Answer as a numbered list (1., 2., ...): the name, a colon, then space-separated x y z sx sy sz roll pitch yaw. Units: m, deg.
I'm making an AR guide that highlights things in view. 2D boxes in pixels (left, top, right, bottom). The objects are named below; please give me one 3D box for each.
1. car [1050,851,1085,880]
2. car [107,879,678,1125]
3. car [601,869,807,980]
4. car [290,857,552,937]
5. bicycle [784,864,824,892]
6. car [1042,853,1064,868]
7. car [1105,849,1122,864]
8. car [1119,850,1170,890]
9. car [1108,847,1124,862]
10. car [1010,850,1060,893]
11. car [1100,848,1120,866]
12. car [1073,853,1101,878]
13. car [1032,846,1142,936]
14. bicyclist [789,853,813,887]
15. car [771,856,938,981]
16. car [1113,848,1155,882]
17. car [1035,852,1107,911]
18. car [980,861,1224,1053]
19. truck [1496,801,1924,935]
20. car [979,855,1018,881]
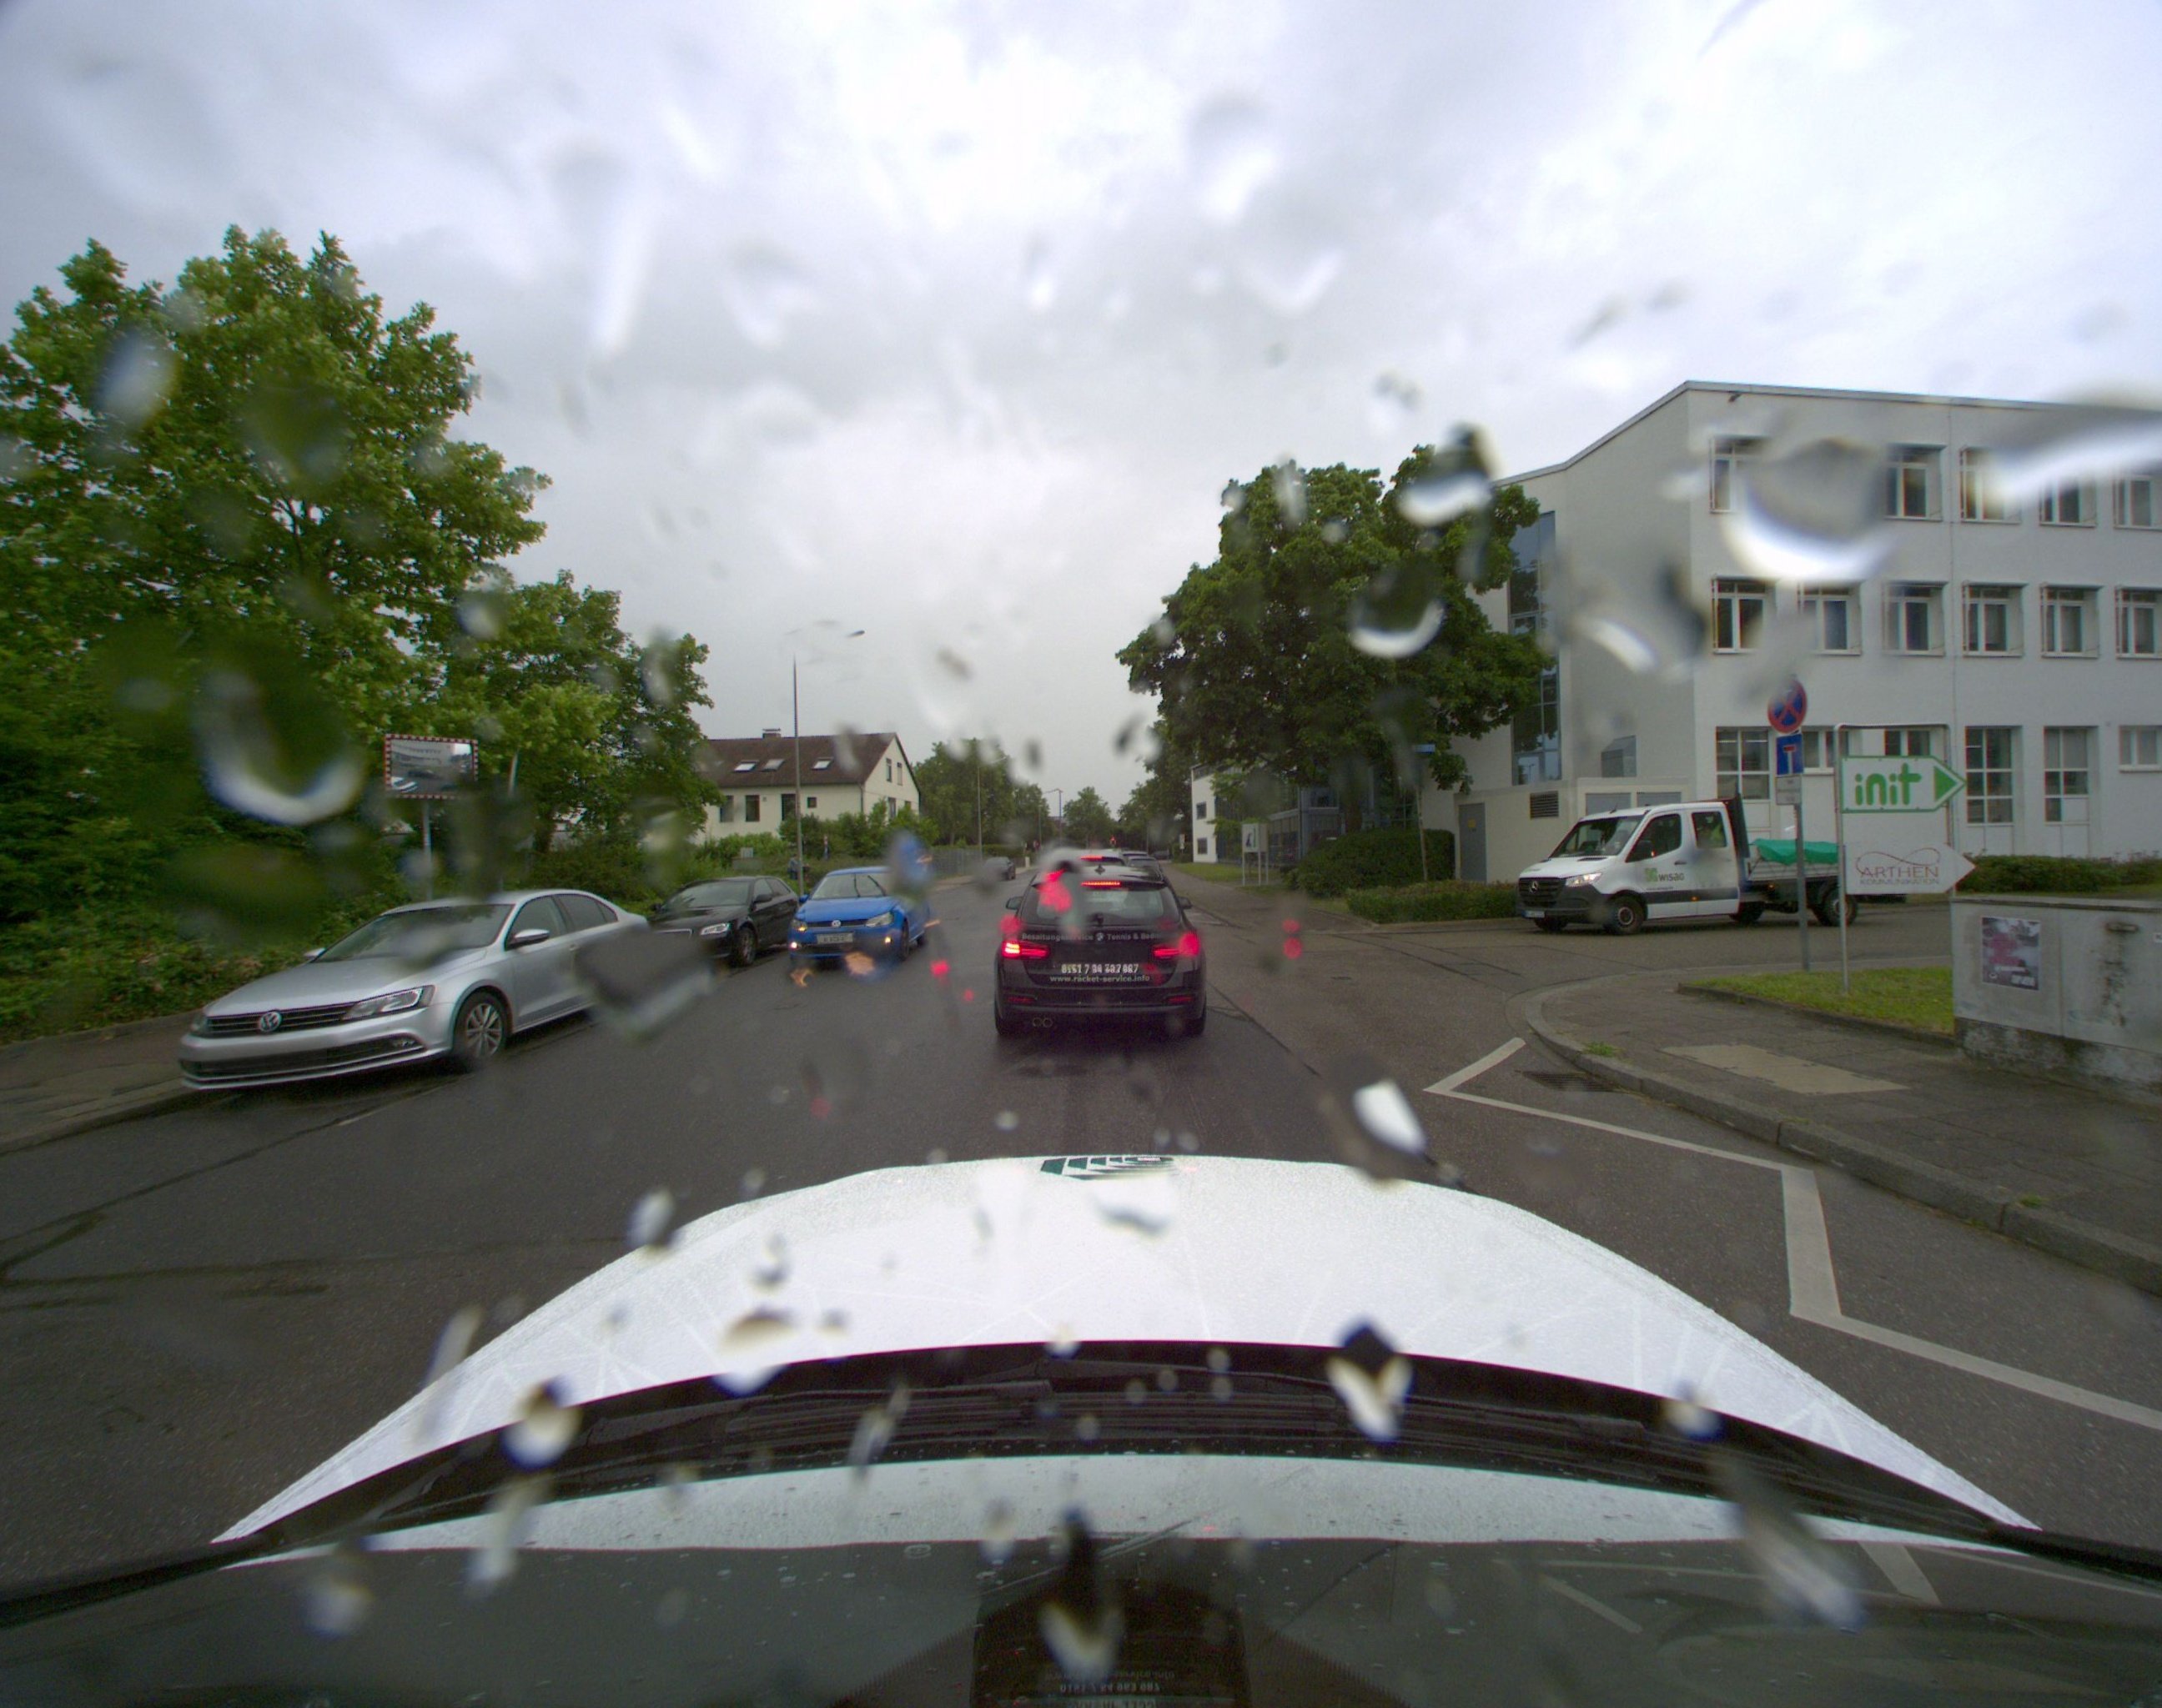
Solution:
1. car: -0.742 0.679 47.312 1.797 1.586 4.001 -1 0 2
2. car: -5.730 1.050 7.763 1.702 1.367 4.594 -4 0 -4
3. car: -5.990 1.038 13.483 1.702 1.367 3.834 -4 0 -3
4. car: -14.208 0.886 17.762 3.981 1.540 1.907 -1 0 -6
5. bicycle: -12.613 1.077 37.081 1.664 1.213 0.492 -1 0 -27
6. car: -2.813 0.655 82.573 1.698 1.367 3.843 -4 0 4
7. car: 3.486 0.250 87.636 1.798 1.586 4.001 -1 0 1
8. car: 2.657 0.656 34.846 1.799 1.586 3.998 -1 0 -1
9. car: 4.020 0.069 93.850 1.798 1.586 4.001 -1 0 1
10. car: -1.761 0.669 32.385 1.799 1.586 3.998 -1 0 -1
11. car: 2.648 0.224 75.862 1.798 1.586 4.001 -1 0 1
12. car: 0.449 0.748 54.387 1.797 1.586 4.001 -1 0 2
13. car: -0.009 0.674 16.552 1.802 1.586 3.991 -1 0 -6
14. bicyclist: -12.730 0.718 37.065 0.944 1.516 0.609 -1 0 -27
15. car: -3.479 0.894 13.244 1.702 1.594 3.834 -4 0 -3
16. car: 2.583 0.553 40.444 1.799 1.586 3.998 -1 0 -1
17. car: -0.377 0.772 24.435 1.802 1.586 3.991 -1 0 -6
18. car: 0.125 0.778 8.046 1.799 1.395 3.998 -1 0 -1
19. truck: 11.546 0.198 15.117 6.920 2.140 2.088 -1 0 -9
20. car: -5.070 0.844 50.566 1.698 1.367 3.843 -4 0 4
